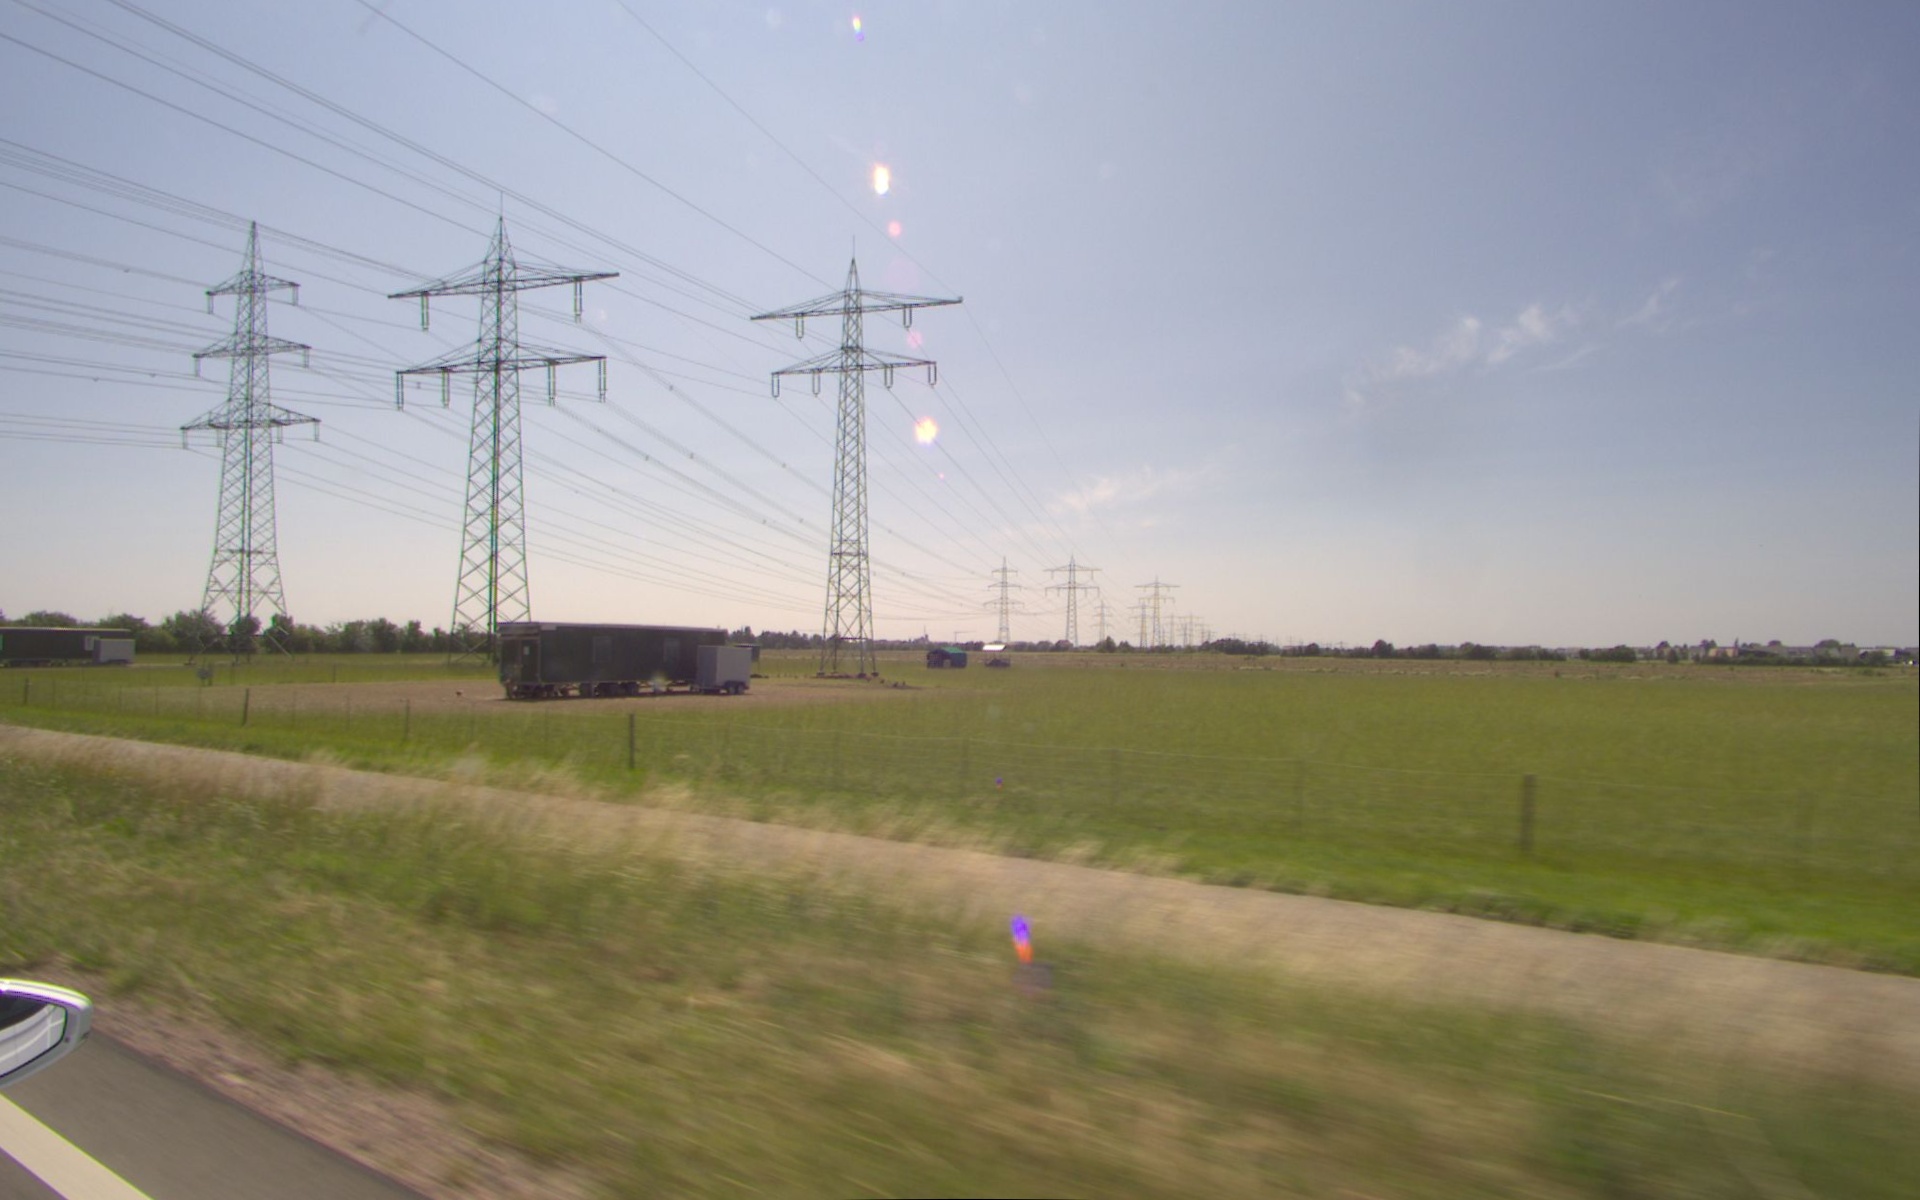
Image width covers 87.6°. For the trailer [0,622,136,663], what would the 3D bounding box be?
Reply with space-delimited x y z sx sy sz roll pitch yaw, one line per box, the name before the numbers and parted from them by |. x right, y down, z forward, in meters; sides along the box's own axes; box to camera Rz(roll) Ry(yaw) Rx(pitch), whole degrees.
trailer | -82.447 3.840 90.032 3.747 3.516 12.408 -1 -3 28

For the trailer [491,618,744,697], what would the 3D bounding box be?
trailer | -16.915 2.894 51.289 3.227 3.518 13.501 -1 -3 30

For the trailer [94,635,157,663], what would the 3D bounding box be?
trailer | -77.427 4.534 92.946 1.968 2.473 3.988 0 -3 26

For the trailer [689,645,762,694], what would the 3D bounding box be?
trailer | -12.473 3.687 53.481 2.007 2.493 3.405 0 -3 30
